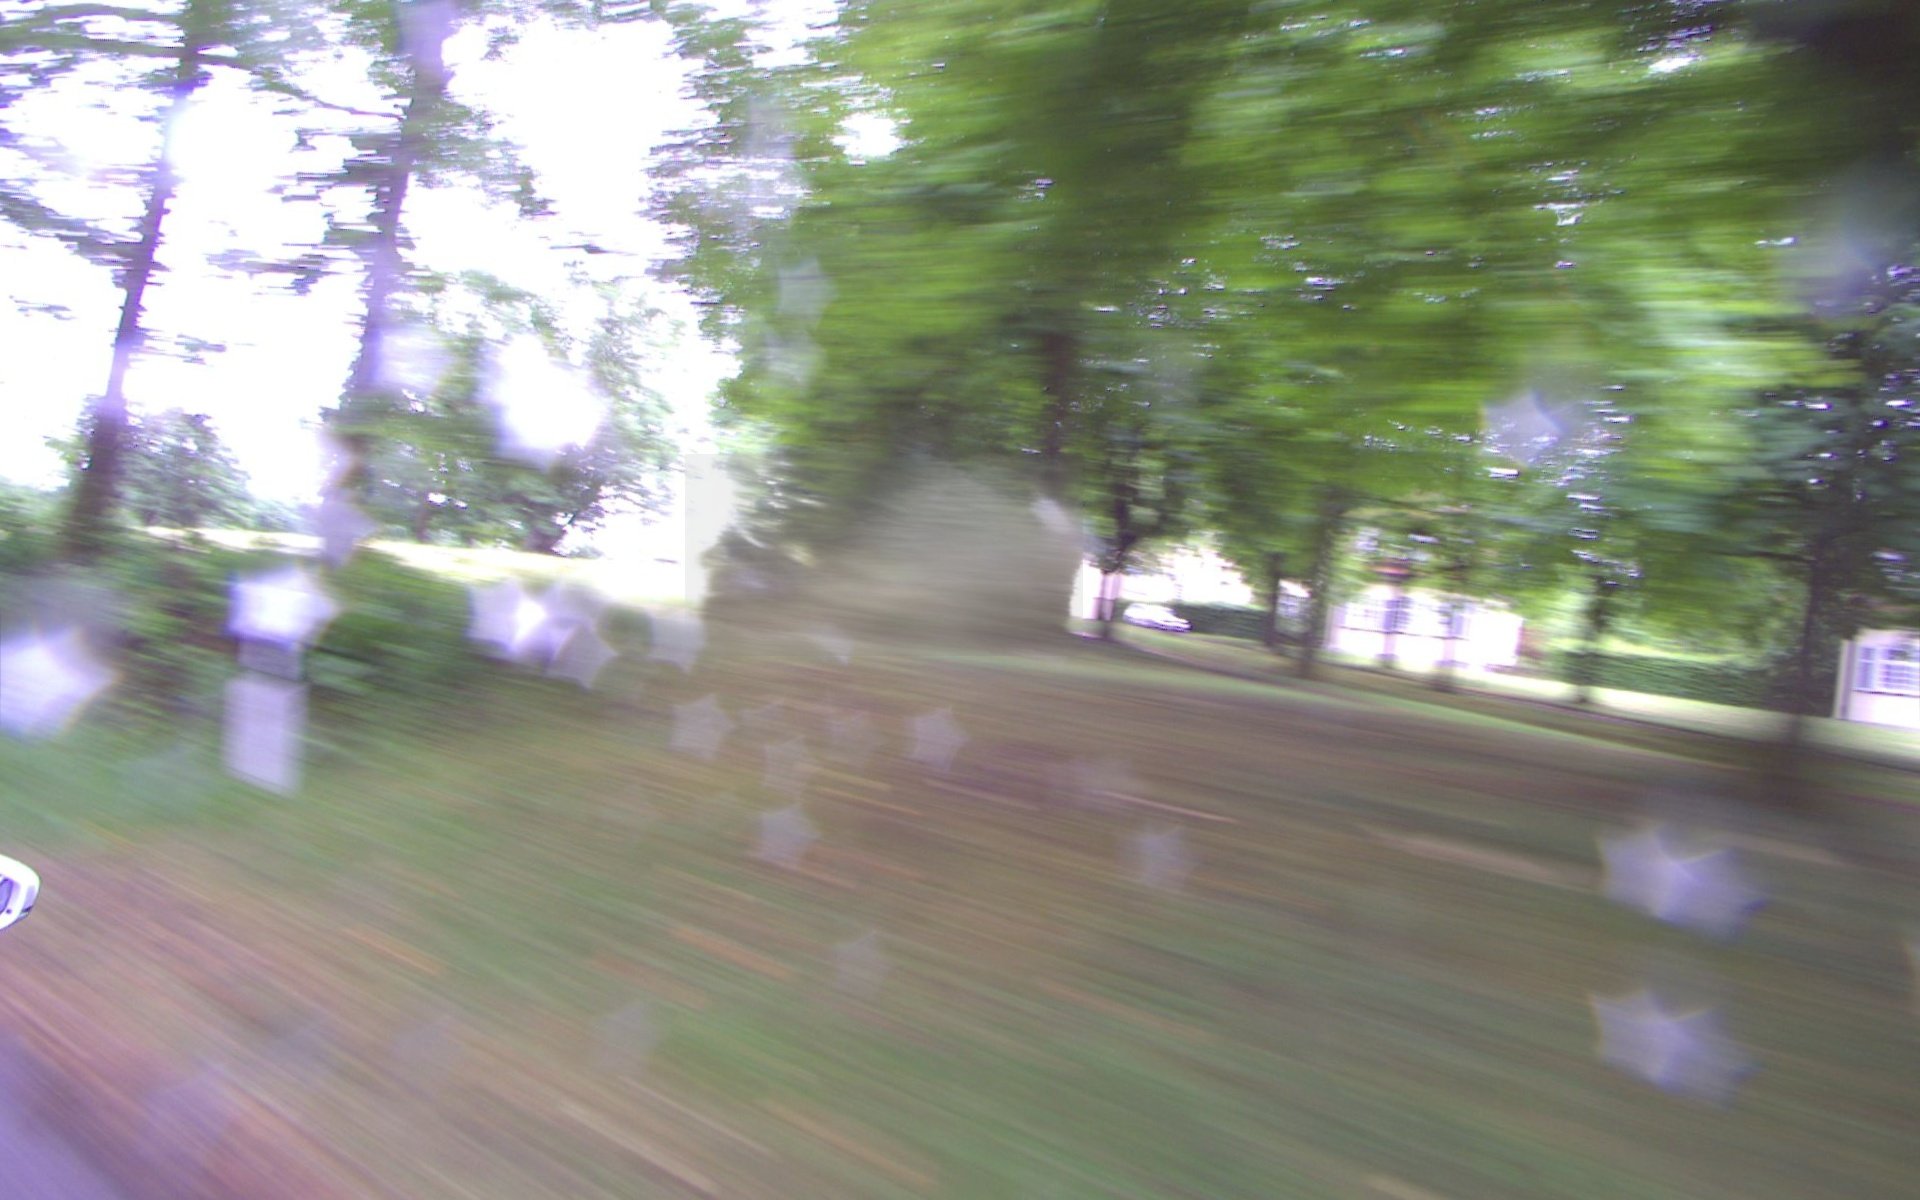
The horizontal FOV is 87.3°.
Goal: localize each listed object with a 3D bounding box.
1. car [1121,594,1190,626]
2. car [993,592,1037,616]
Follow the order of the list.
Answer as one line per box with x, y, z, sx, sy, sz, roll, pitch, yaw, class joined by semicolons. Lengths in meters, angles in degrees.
11.406;0.571;59.015;1.971;1.446;4.275;6;1;-19;car
4.411;0.285;81.045;1.968;1.570;5.046;6;1;-15;car
